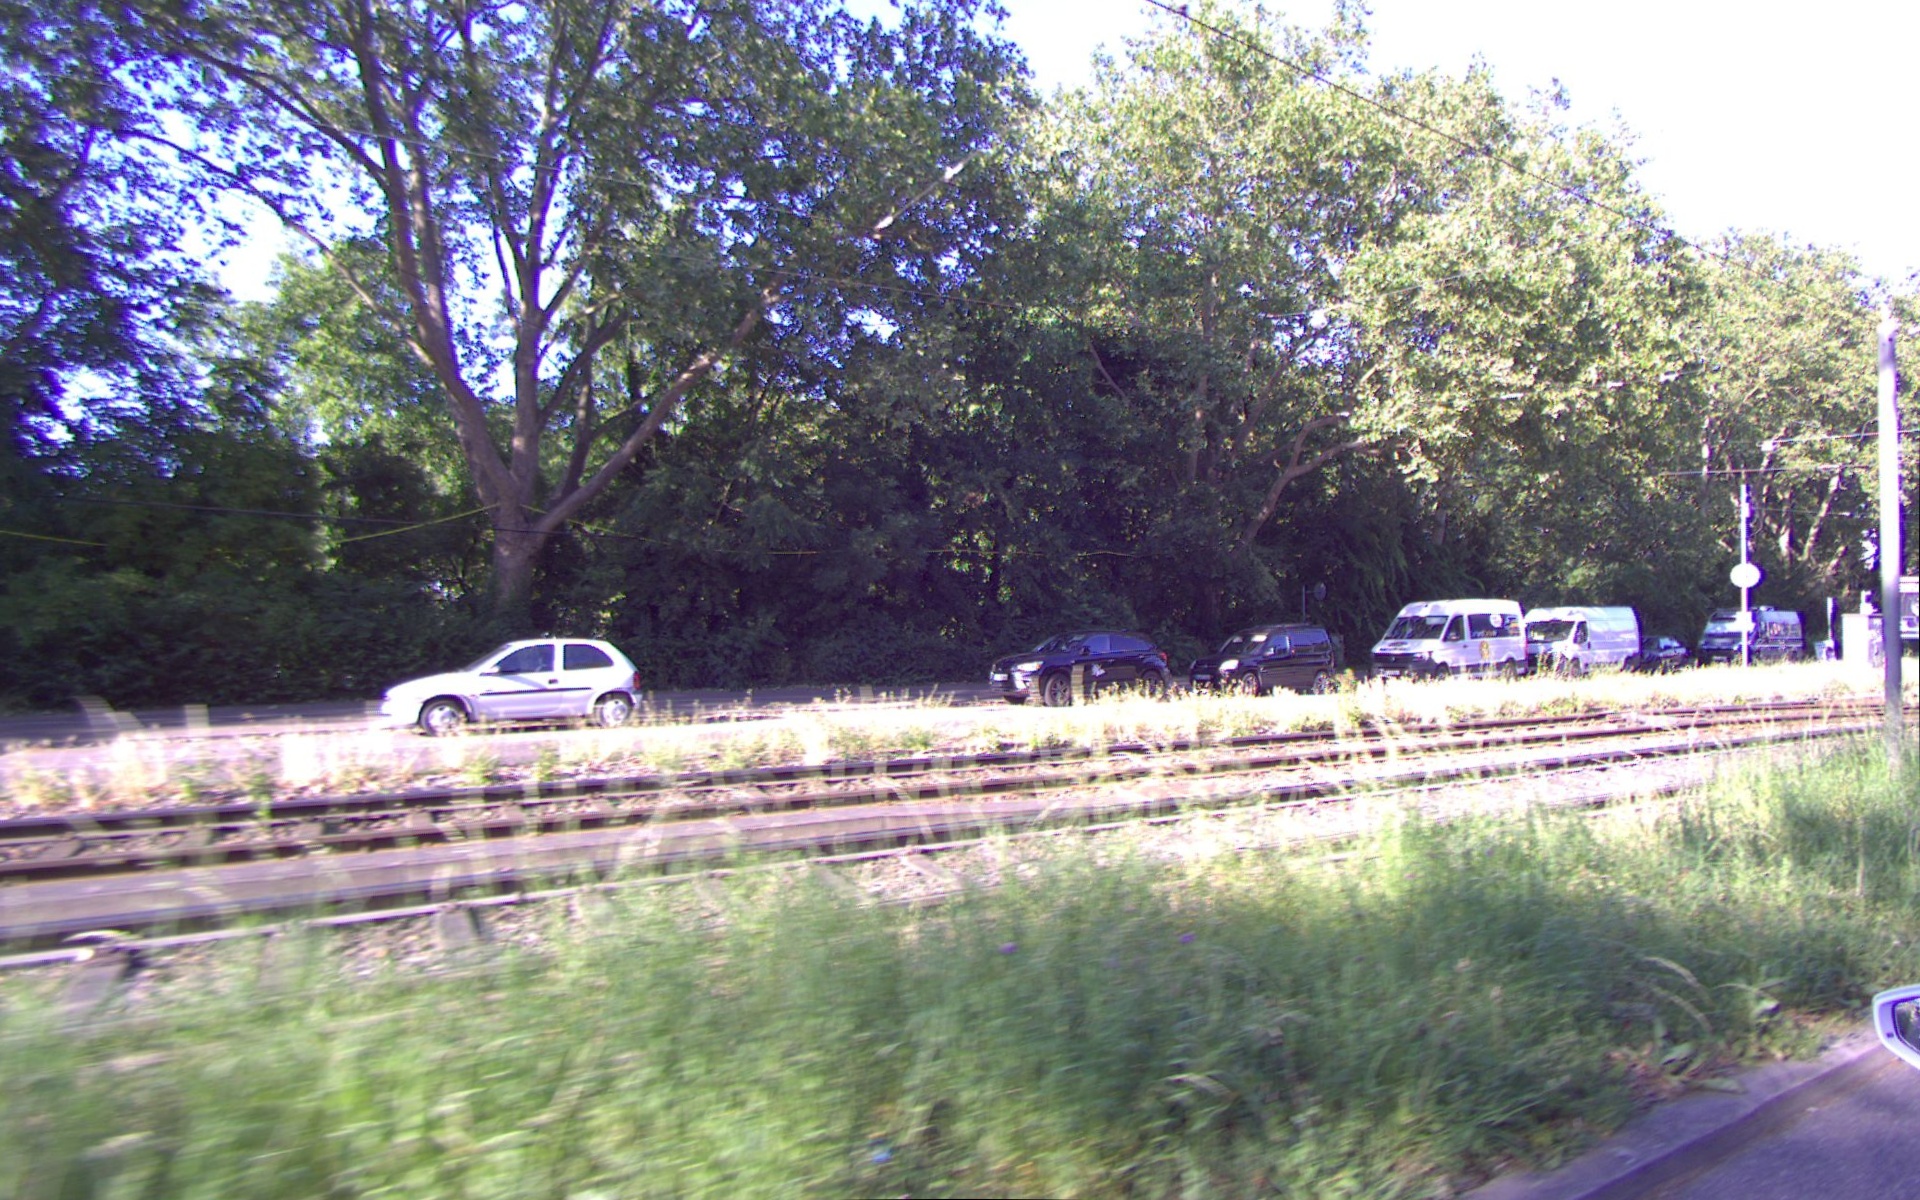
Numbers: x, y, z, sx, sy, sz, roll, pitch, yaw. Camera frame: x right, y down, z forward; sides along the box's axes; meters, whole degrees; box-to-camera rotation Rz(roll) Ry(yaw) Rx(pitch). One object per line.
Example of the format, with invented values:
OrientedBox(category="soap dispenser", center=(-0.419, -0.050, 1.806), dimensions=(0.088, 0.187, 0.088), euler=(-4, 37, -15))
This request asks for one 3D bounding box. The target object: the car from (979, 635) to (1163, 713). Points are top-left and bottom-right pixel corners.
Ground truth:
OrientedBox(category="car", center=(2.482, 1.586, 22.148), dimensions=(3.842, 1.575, 1.729), euler=(2, -3, -34))

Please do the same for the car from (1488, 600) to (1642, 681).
OrientedBox(category="car", center=(20.862, 1.417, 34.529), dimensions=(6.210, 2.553, 2.170), euler=(2, -3, -35))

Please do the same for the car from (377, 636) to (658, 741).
OrientedBox(category="car", center=(-6.908, 1.324, 15.792), dimensions=(3.812, 1.455, 1.729), euler=(2, -3, -34))

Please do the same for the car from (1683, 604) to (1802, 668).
OrientedBox(category="car", center=(33.215, 1.551, 42.594), dimensions=(5.969, 2.553, 2.171), euler=(2, -3, -34))

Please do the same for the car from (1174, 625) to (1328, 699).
OrientedBox(category="car", center=(7.436, 1.563, 25.578), dimensions=(3.842, 1.750, 1.729), euler=(2, -3, -34))

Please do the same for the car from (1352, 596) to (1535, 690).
OrientedBox(category="car", center=(14.485, 1.304, 29.981), dimensions=(5.987, 2.553, 2.171), euler=(2, -3, -34))

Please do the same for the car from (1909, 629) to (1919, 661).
OrientedBox(category="car", center=(53.220, 2.444, 54.401), dimensions=(3.933, 1.673, 1.891), euler=(2, -3, -35))

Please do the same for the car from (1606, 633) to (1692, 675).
OrientedBox(category="car", center=(26.168, 2.049, 38.116), dimensions=(3.233, 1.532, 1.641), euler=(2, -3, -35))
